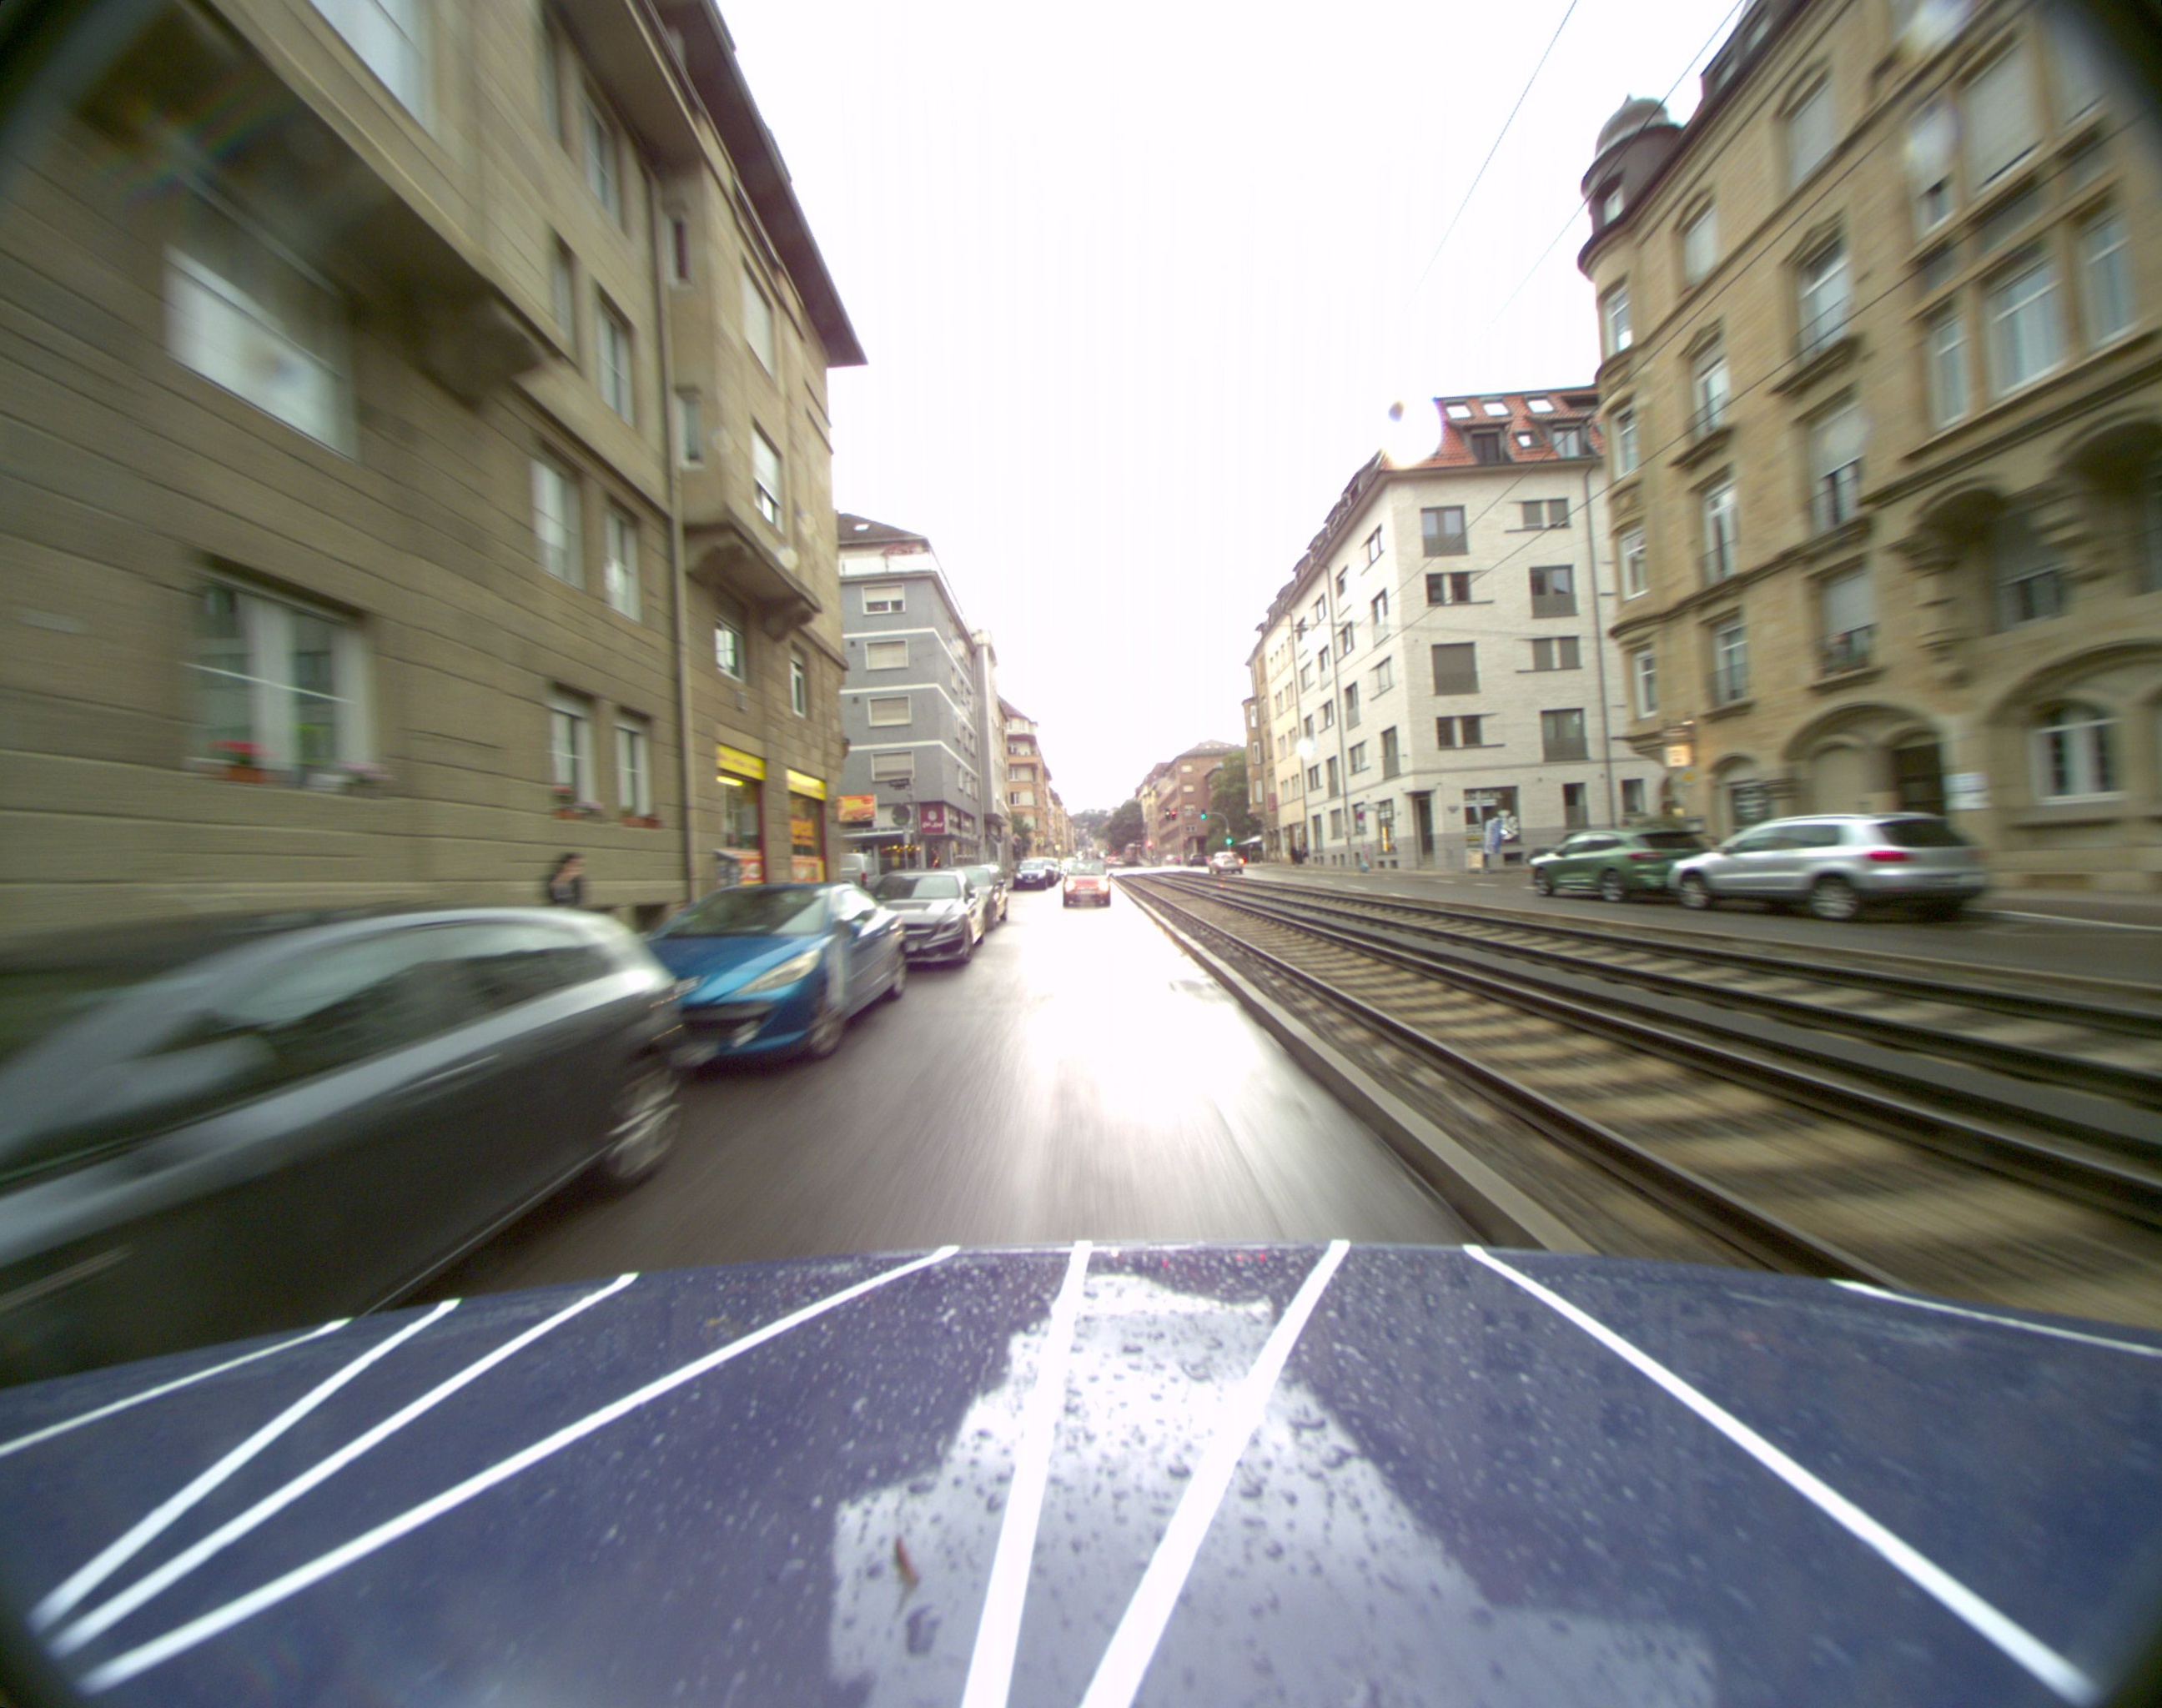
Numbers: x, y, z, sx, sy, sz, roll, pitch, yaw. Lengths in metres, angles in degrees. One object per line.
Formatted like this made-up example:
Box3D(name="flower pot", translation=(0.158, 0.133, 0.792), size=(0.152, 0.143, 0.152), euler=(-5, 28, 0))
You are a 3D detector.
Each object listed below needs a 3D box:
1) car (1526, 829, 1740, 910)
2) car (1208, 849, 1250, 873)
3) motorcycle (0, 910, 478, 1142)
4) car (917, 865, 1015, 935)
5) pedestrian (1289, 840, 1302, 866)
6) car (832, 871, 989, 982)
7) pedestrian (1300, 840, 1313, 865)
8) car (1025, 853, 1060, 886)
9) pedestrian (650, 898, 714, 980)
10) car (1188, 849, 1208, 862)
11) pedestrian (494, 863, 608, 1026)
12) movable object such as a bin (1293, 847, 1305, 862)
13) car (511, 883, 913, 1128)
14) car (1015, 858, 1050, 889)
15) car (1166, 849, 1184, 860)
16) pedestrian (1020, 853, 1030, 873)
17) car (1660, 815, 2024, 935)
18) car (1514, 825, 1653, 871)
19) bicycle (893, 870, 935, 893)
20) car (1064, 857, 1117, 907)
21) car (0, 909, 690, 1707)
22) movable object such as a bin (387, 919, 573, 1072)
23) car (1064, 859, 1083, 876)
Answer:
Box3D(name="car", translation=(12.531, 0.325, 17.675), size=(1.863, 1.592, 4.430), euler=(-2, 0, 3))
Box3D(name="car", translation=(9.965, 0.459, 51.508), size=(1.986, 1.448, 4.294), euler=(-2, 0, 0))
Box3D(name="motorcycle", translation=(-6.271, 1.157, 6.020), size=(0.707, 1.192, 2.746), euler=(-2, 0, 1))
Box3D(name="car", translation=(-2.614, 1.006, 18.139), size=(1.675, 1.435, 3.790), euler=(-1, 0, 1))
Box3D(name="pedestrian", translation=(15.047, -0.069, 53.317), size=(0.603, 1.708, 0.746), euler=(-5, 0, 3))
Box3D(name="car", translation=(-2.578, 1.035, 12.543), size=(1.759, 1.379, 4.484), euler=(-1, 0, -3))
Box3D(name="pedestrian", translation=(15.768, -0.112, 53.090), size=(0.603, 1.708, 0.658), euler=(-5, 0, 3))
Box3D(name="car", translation=(-2.222, 0.862, 44.980), size=(1.797, 1.750, 4.566), euler=(-2, 0, 0))
Box3D(name="pedestrian", translation=(-5.550, 1.169, 10.598), size=(0.512, 1.044, 0.627), euler=(-2, 0, 1))
Box3D(name="car", translation=(12.830, 0.171, 83.248), size=(1.708, 1.379, 3.782), euler=(-2, 0, 2))
Box3D(name="pedestrian", translation=(-5.269, 0.867, 7.589), size=(0.562, 1.526, 0.710), euler=(-2, 0, 1))
Box3D(name="movable object such as a bin", translation=(16.348, 0.048, 56.943), size=(0.631, 1.074, 0.563), euler=(-7, 0, 0))
Box3D(name="car", translation=(-2.862, 1.073, 6.993), size=(1.711, 1.390, 4.018), euler=(-2, 0, -1))
Box3D(name="car", translation=(-2.524, 0.980, 39.803), size=(1.696, 1.474, 3.928), euler=(-1, 0, -4))
Box3D(name="car", translation=(13.216, 0.102, 106.572), size=(2.093, 1.449, 4.860), euler=(-1, 0, 3))
Box3D(name="pedestrian", translation=(-5.153, 0.835, 69.793), size=(0.852, 1.807, 0.847), euler=(-1, 0, 1))
Box3D(name="car", translation=(12.487, 0.305, 12.982), size=(1.863, 1.643, 4.315), euler=(-2, 0, 0))
Box3D(name="car", translation=(21.743, -0.255, 33.018), size=(4.704, 1.718, 2.034), euler=(-3, 0, -2))
Box3D(name="bicycle", translation=(-7.621, 1.243, 34.697), size=(1.753, 0.967, 0.533), euler=(-3, 0, 2))
Box3D(name="car", translation=(0.326, 0.912, 26.431), size=(1.683, 1.531, 4.018), euler=(-2, 0, 0))
Box3D(name="car", translation=(-3.023, 1.059, 2.059), size=(1.792, 1.453, 4.083), euler=(-2, 0, -1))
Box3D(name="movable object such as a bin", translation=(-5.177, 1.178, 6.633), size=(0.667, 1.096, 1.124), euler=(-3, 0, 0))
Box3D(name="car", translation=(-0.939, 1.650, 93.706), size=(2.135, 2.002, 4.328), euler=(-2, 0, 1))
